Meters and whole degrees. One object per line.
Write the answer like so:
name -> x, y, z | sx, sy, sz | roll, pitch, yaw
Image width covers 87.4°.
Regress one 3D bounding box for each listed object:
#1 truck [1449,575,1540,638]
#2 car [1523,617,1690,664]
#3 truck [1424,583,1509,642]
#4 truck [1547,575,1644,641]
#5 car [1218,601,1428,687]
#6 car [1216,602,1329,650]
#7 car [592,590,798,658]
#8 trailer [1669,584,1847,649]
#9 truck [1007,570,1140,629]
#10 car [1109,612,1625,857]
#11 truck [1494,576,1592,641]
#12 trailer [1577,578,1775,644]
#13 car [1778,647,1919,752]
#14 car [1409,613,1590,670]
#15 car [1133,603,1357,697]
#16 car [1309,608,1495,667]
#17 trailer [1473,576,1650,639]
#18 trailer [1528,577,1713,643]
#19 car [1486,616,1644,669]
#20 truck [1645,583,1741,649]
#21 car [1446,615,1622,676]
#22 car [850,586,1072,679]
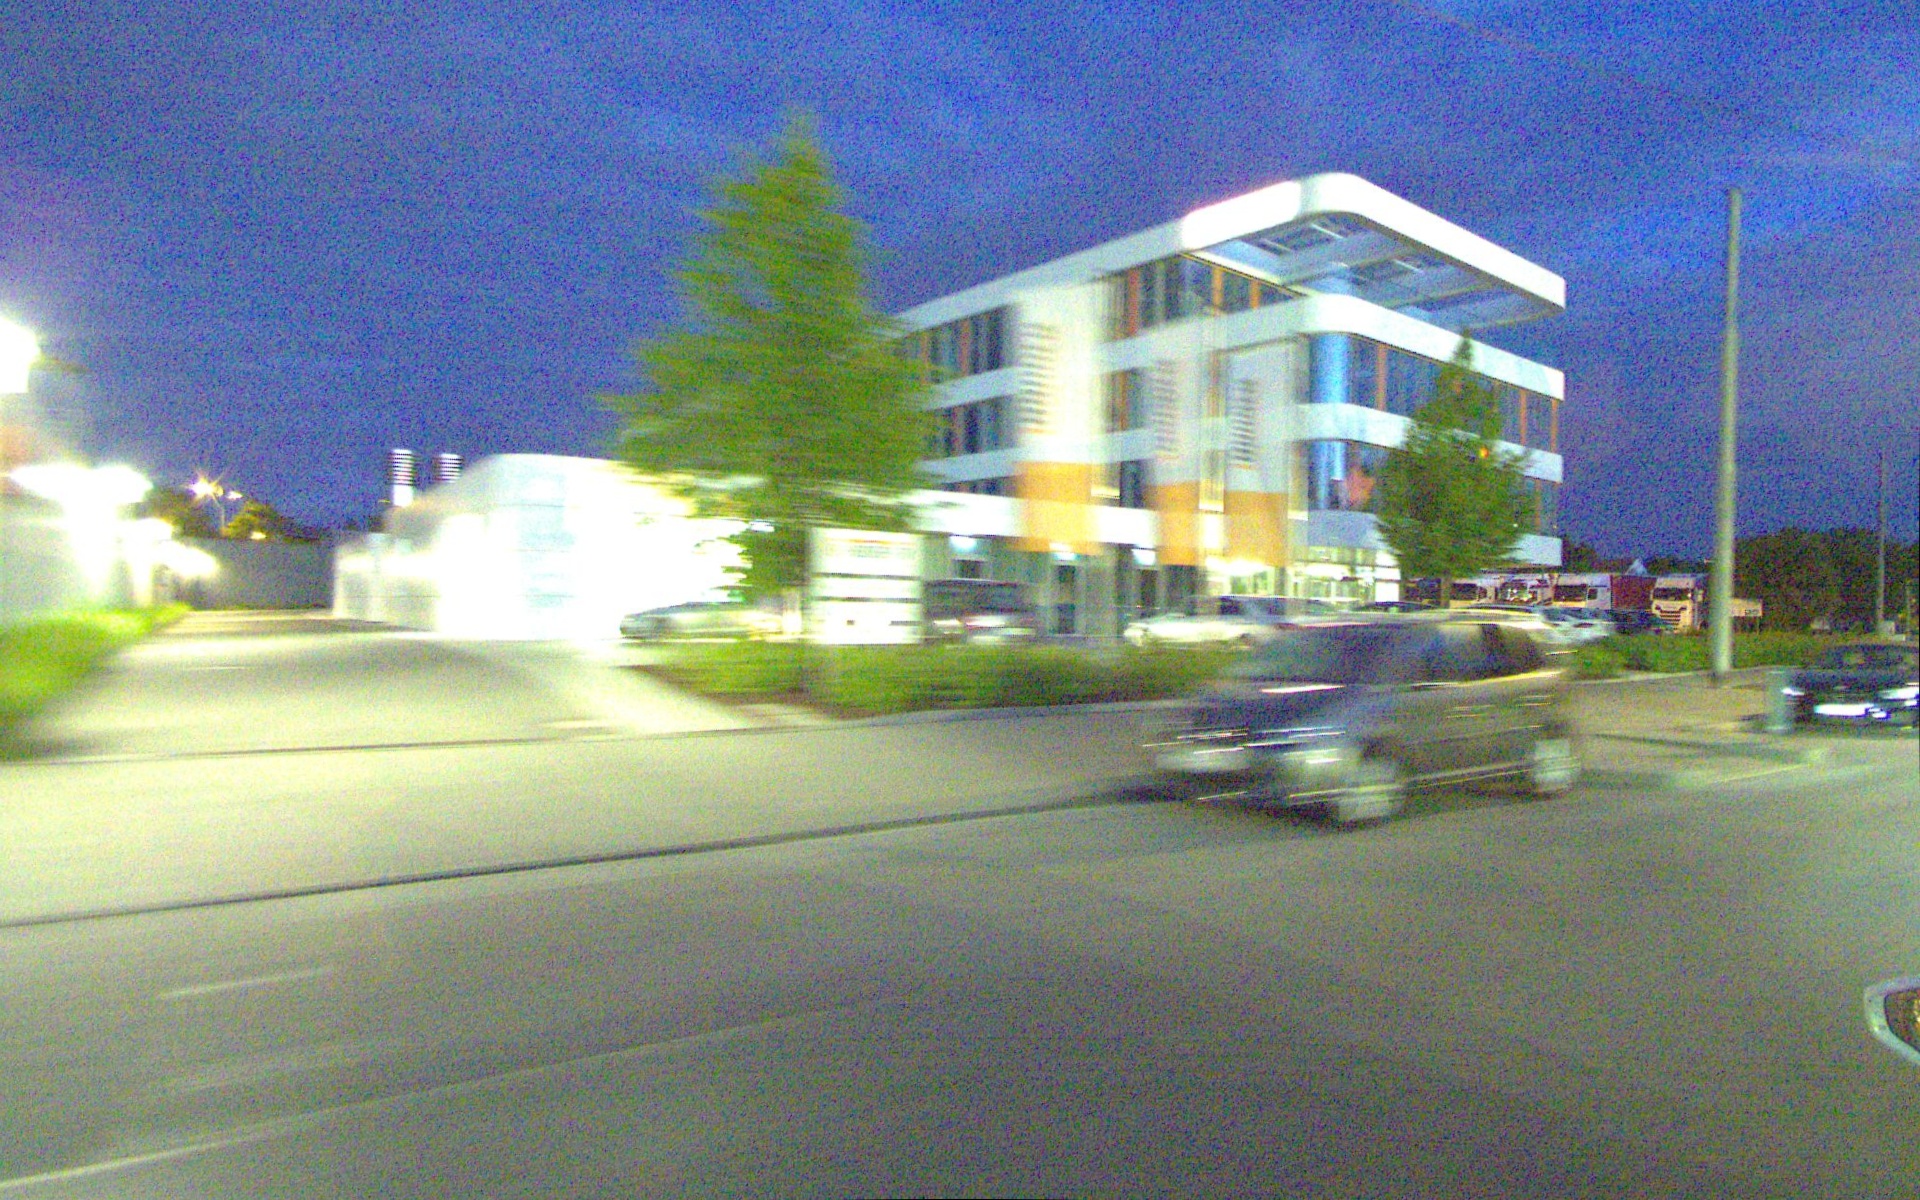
truck -> 39.579, 0.485, 74.428 | 5.482, 4.416, 3.054 | 1, 1, -20
car -> 22.180, 1.356, 34.630 | 2.039, 1.471, 4.422 | 1, -1, -33
truck -> 39.449, 0.931, 78.289 | 5.487, 4.416, 3.051 | 1, 1, -23
truck -> 42.508, 0.555, 67.236 | 4.859, 4.204, 3.055 | 1, 1, -19
car -> 8.455, 0.976, 23.743 | 1.944, 1.840, 4.373 | 1, -1, -36
car -> 11.774, 0.968, 37.772 | 4.163, 1.663, 1.979 | 1, 0, -36
car -> -6.335, 0.564, 24.178 | 4.420, 1.477, 1.889 | 1, 0, -35
trailer -> 53.020, 1.155, 66.498 | 14.802, 3.985, 3.048 | 1, 0, -26
truck -> 9.264, 0.018, 84.179 | 3.545, 4.611, 12.462 | 1, -1, -36
car -> 3.596, 0.949, 8.640 | 4.444, 1.614, 1.857 | 1, -1, -32
truck -> 41.085, 0.603, 70.841 | 5.481, 4.416, 3.054 | 1, 1, -20
trailer -> 49.797, 0.799, 69.726 | 14.769, 4.204, 3.055 | 2, 0, -19
car -> 14.727, 1.482, 15.938 | 4.322, 1.389, 1.800 | 2, -1, -38
car -> 15.893, 1.172, 29.799 | 1.833, 1.498, 4.373 | 1, -1, -36
car -> 6.209, 1.020, 22.383 | 1.944, 1.840, 4.575 | 1, -1, -36
car -> 11.706, 0.958, 26.839 | 1.810, 1.412, 4.236 | 1, -1, -36
trailer -> 46.144, 0.650, 76.879 | 14.776, 4.416, 3.053 | 2, 0, -21
trailer -> 48.515, 0.806, 73.602 | 14.775, 4.416, 3.054 | 2, 0, -20
car -> 19.916, 1.353, 33.200 | 1.824, 1.600, 4.102 | 1, -1, -36
truck -> 46.032, 0.992, 63.119 | 4.443, 3.985, 3.048 | 1, 1, -26
car -> 17.881, 1.365, 31.459 | 1.945, 1.703, 4.371 | 1, -1, -38
car -> -0.115, 0.545, 18.503 | 1.874, 1.502, 4.373 | 1, -1, -36
